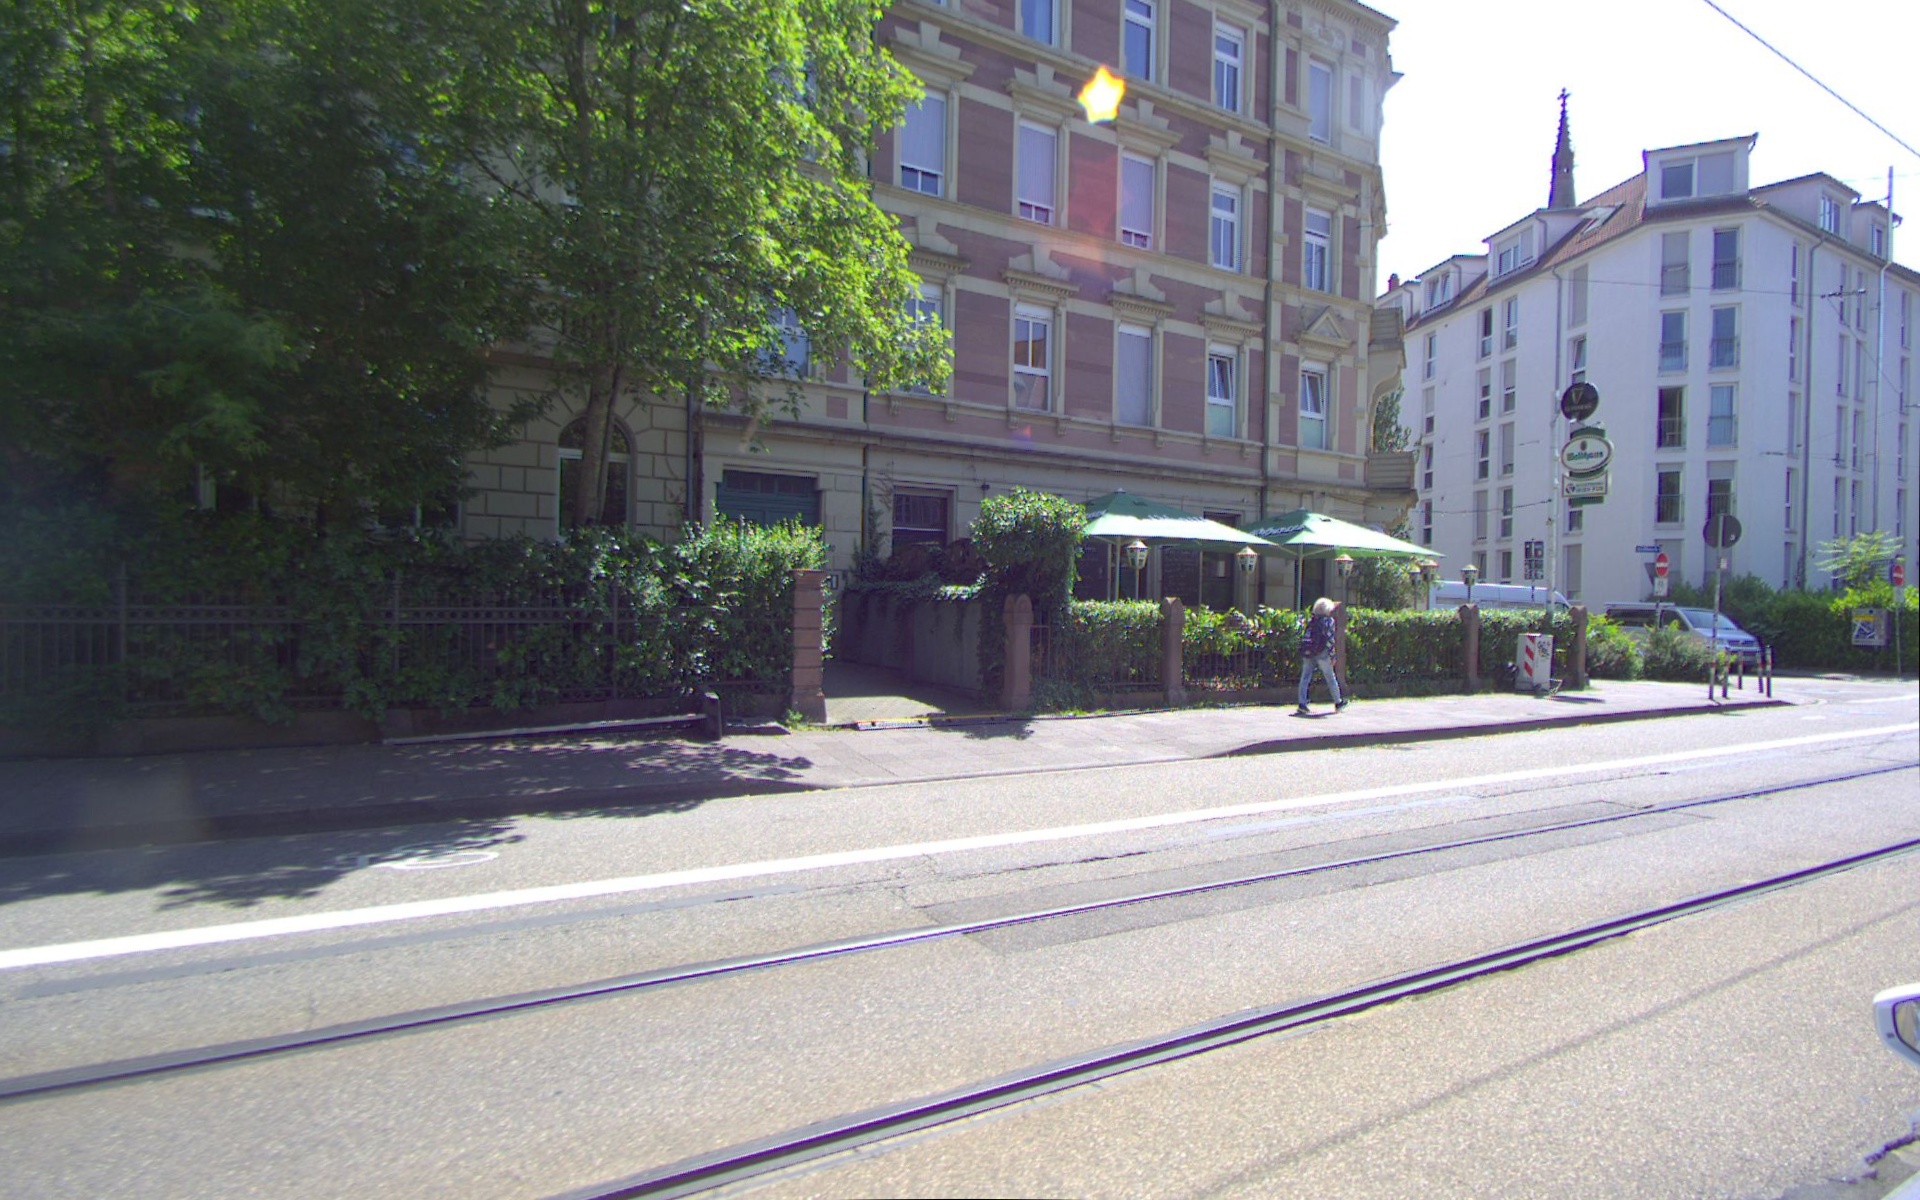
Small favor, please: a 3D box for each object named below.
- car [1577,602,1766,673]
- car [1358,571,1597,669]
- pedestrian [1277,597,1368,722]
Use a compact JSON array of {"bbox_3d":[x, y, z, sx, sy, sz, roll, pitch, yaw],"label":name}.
[{"bbox_3d":[21.973,1.104,31.299,2.117,2.011,4.698,1,0,-9],"label":"car"},{"bbox_3d":[14.832,0.578,28.893,6.079,2.624,2.122,1,0,-11],"label":"car"},{"bbox_3d":[5.000,0.800,13.866,0.927,1.664,0.737,1,0,-27],"label":"pedestrian"}]
